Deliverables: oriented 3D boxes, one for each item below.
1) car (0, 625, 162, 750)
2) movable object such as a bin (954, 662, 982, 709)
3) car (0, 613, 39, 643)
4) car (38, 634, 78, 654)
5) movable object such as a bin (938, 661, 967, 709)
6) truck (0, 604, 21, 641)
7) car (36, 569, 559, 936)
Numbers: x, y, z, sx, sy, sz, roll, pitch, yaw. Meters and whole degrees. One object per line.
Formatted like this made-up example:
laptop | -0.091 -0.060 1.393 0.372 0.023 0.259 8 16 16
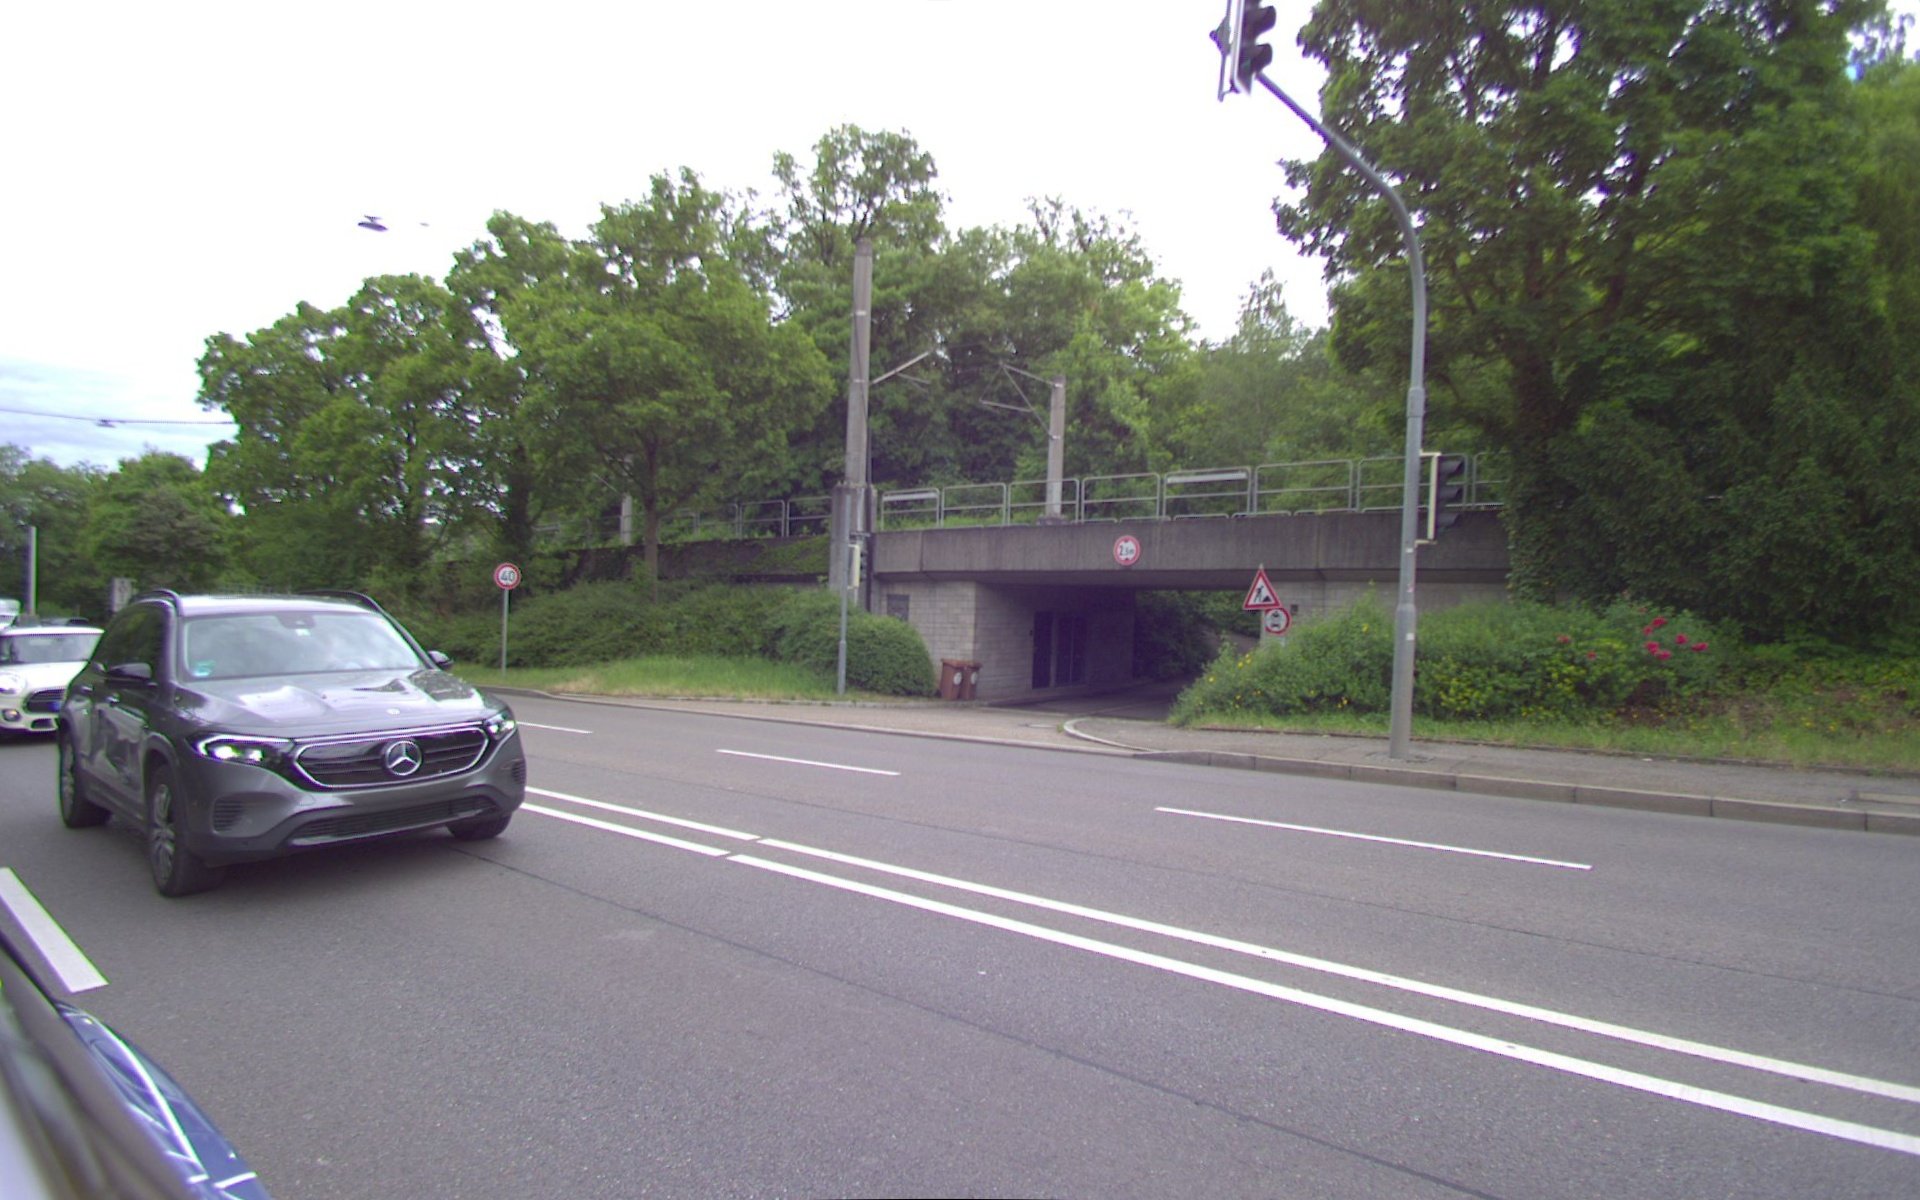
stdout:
car | -12.153 1.066 13.534 3.731 1.435 1.667 -1 -1 41
movable object such as a bin | 0.182 1.991 23.771 0.503 1.071 0.414 -1 -3 36
car | -74.688 2.172 78.978 2.247 2.217 6.479 0 -1 -24
car | -83.727 4.059 94.006 1.748 1.814 4.013 1 -3 -26
movable object such as a bin | -0.168 1.937 23.223 0.503 1.071 0.414 -1 -3 36
truck | -84.987 1.919 87.878 2.164 3.180 6.670 2 -3 -17
car | -4.596 0.737 6.735 4.355 1.664 1.830 -1 -1 41
